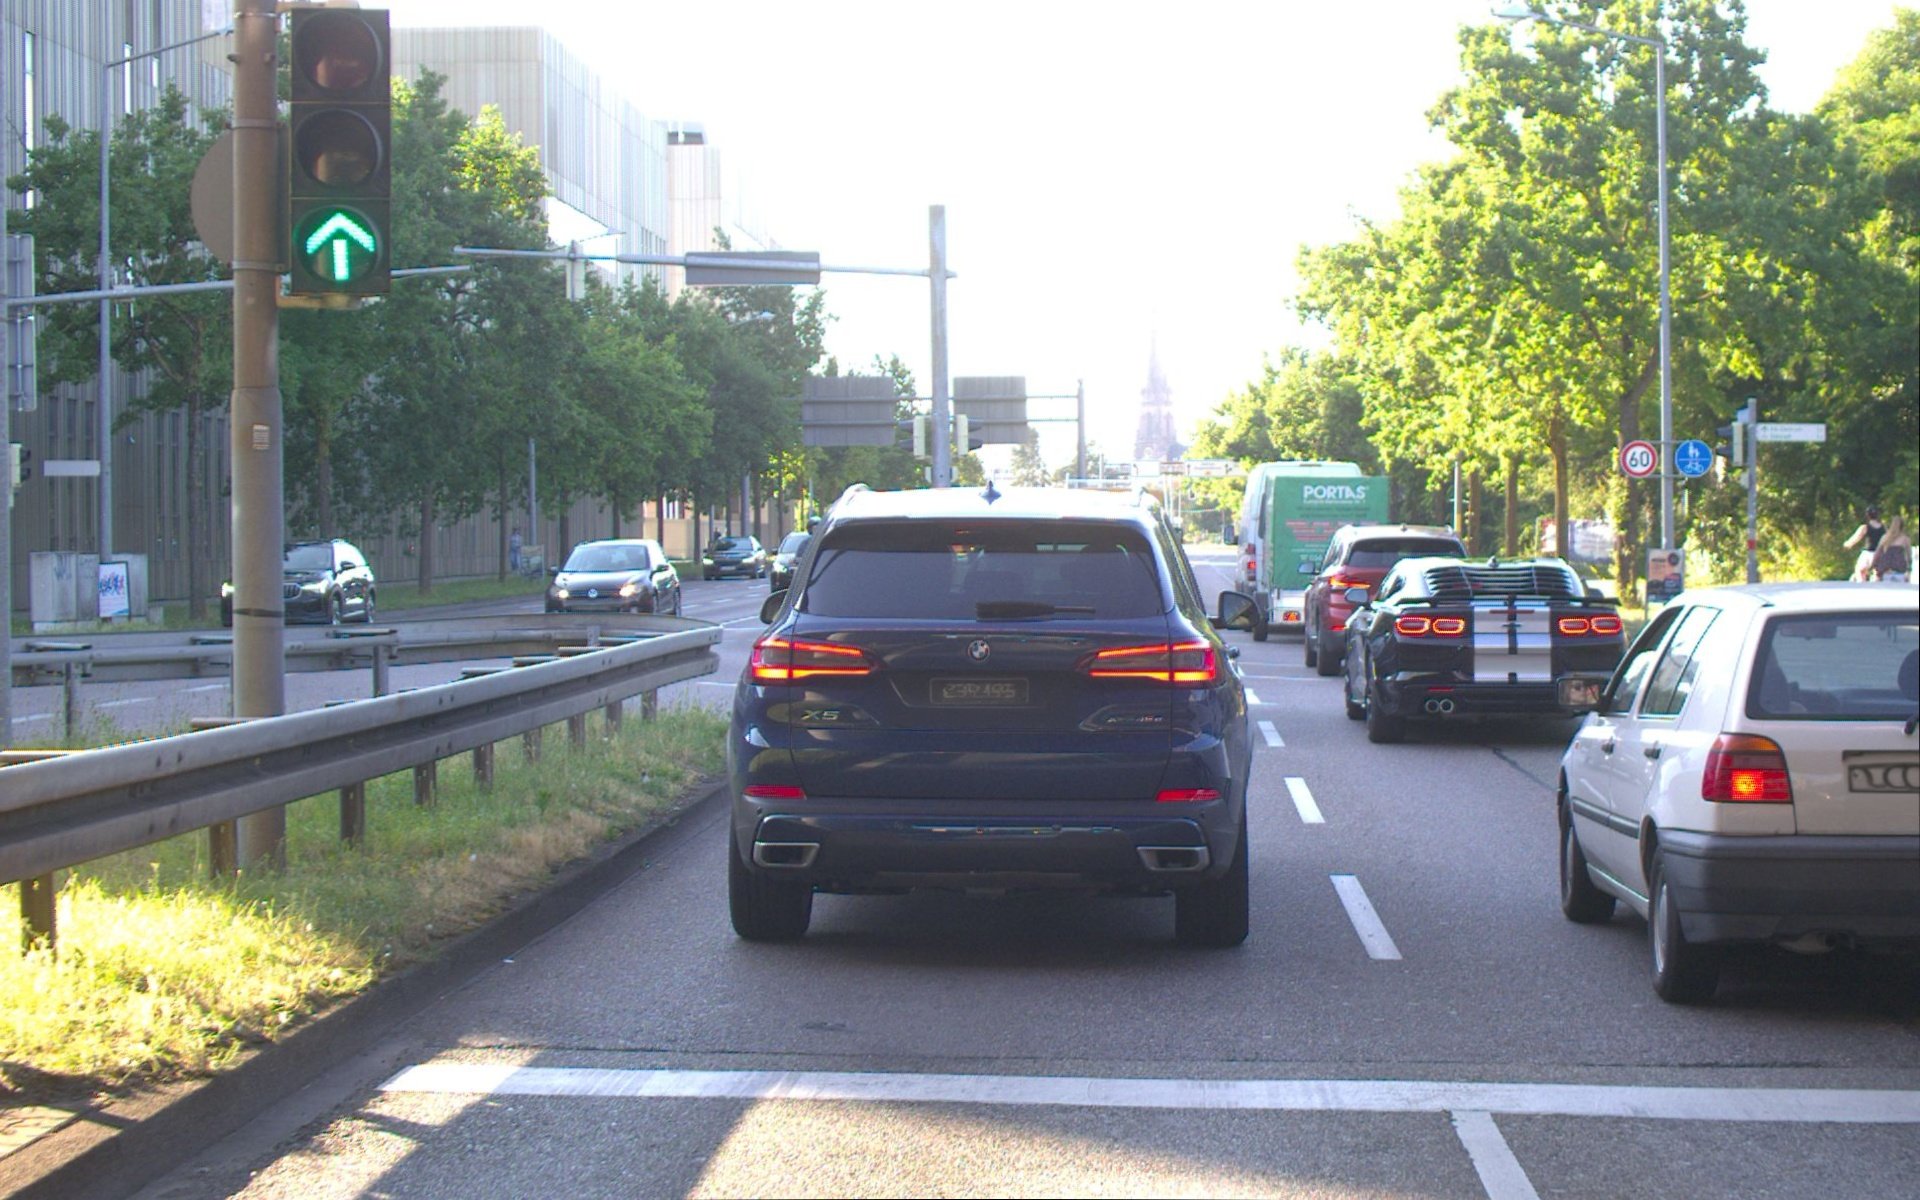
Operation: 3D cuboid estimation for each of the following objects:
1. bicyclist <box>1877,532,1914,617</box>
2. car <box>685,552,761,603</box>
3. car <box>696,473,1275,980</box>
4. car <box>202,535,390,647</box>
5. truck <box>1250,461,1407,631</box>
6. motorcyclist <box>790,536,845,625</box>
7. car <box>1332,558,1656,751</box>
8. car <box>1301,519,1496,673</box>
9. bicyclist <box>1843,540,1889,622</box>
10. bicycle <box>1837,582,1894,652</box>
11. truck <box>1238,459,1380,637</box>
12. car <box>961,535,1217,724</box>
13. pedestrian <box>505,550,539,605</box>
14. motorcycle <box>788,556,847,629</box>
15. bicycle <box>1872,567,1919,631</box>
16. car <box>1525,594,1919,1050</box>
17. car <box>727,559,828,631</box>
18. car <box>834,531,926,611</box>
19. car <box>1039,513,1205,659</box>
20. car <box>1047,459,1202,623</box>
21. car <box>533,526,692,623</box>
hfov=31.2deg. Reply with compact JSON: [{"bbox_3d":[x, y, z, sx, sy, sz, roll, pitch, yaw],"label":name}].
[{"bbox_3d":[13.582,-0.372,49.930,0.427,1.229,0.460,-1,0,4],"label":"bicyclist"},{"bbox_3d":[-8.061,-0.753,117.231,1.994,1.586,4.715,-4,0,2],"label":"car"},{"bbox_3d":[0.214,0.430,14.287,1.994,1.728,4.532,1,0,3],"label":"car"},{"bbox_3d":[-11.086,-0.151,57.721,1.994,1.691,4.680,-3,0,2],"label":"car"},{"bbox_3d":[5.243,-0.749,49.353,1.996,2.307,3.999,1,0,3],"label":"truck"},{"bbox_3d":[-2.265,-0.319,54.522,0.797,1.345,1.275,-2,2,-3],"label":"motorcyclist"},{"bbox_3d":[3.907,0.368,25.776,1.994,1.290,4.000,1,0,3],"label":"car"},{"bbox_3d":[4.705,-0.048,37.324,1.796,1.553,4.000,1,0,3],"label":"car"},{"bbox_3d":[14.678,-0.301,55.721,0.543,1.311,0.835,1,0,3],"label":"bicyclist"},{"bbox_3d":[14.661,0.267,55.671,0.564,1.108,1.621,1,0,3],"label":"bicycle"},{"bbox_3d":[5.443,-0.797,54.093,1.996,2.659,3.999,1,0,3],"label":"truck"},{"bbox_3d":[1.116,0.221,28.065,1.617,1.405,3.681,1,0,9],"label":"car"},{"bbox_3d":[-16.172,-0.832,126.939,1.018,2.007,0.961,1,0,4],"label":"pedestrian"},{"bbox_3d":[-2.272,-0.137,54.507,0.840,1.072,2.401,-2,1,-3],"label":"motorcycle"},{"bbox_3d":[13.584,-0.012,49.920,0.437,0.911,1.026,-2,0,4],"label":"bicycle"},{"bbox_3d":[3.163,0.701,12.802,1.579,1.408,4.062,1,0,2],"label":"car"},{"bbox_3d":[-4.471,-0.127,84.830,1.994,1.586,4.715,-4,0,2],"label":"car"},{"bbox_3d":[-1.600,-0.569,69.455,1.702,1.447,3.858,-4,0,-1],"label":"car"},{"bbox_3d":[2.019,-0.170,41.970,1.617,1.673,3.681,1,0,9],"label":"car"},{"bbox_3d":[2.683,-0.951,57.269,2.136,2.567,5.087,1,0,-2],"label":"car"},{"bbox_3d":[-5.612,-0.403,56.049,1.994,1.470,4.080,2,0,2],"label":"car"}]
